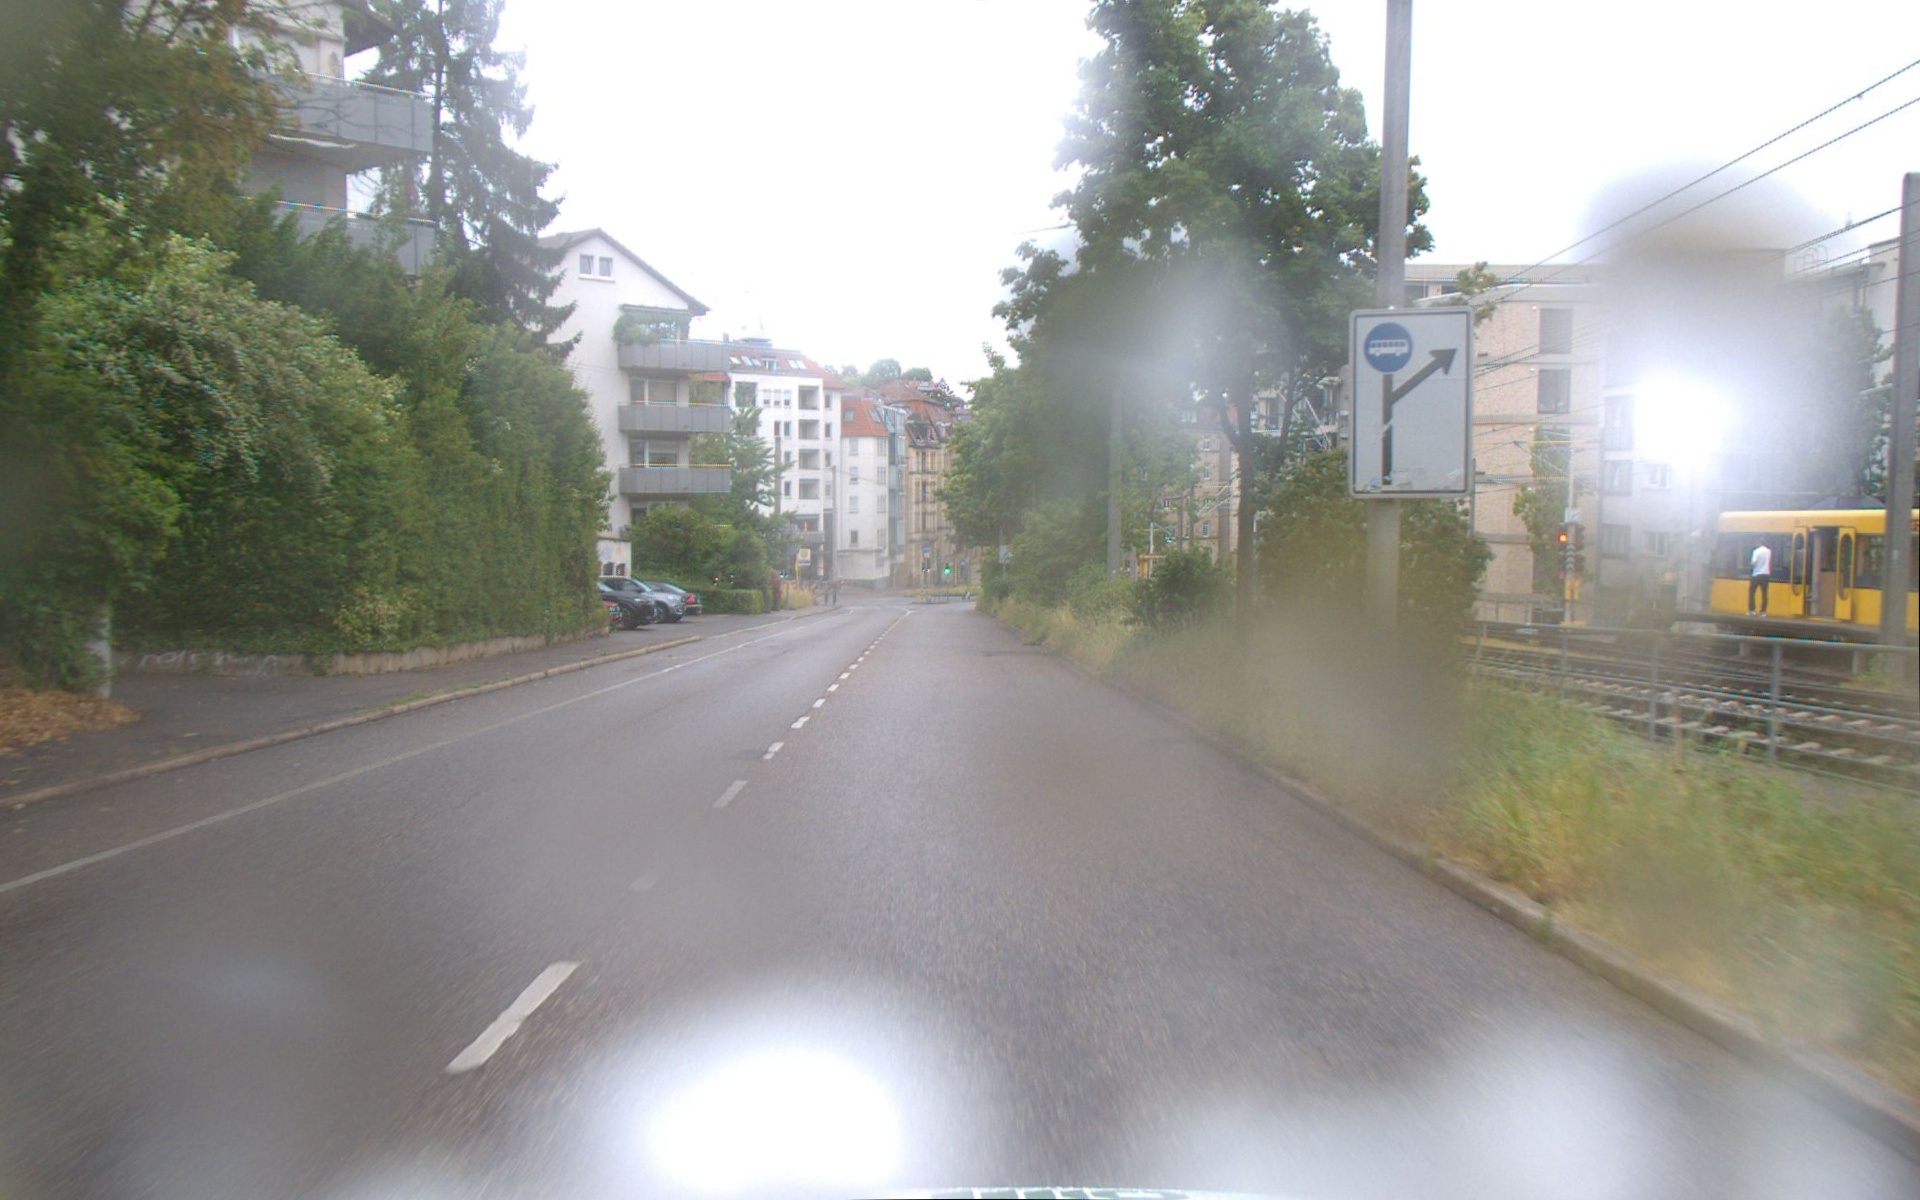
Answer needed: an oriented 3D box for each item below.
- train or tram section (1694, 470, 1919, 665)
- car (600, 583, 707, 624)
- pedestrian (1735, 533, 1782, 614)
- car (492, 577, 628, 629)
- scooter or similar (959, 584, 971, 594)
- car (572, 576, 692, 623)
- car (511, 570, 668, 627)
[{"bbox_3d":[21.390,-0.671,34.744,3.263,4.016,18.809,0,1,-1],"label":"train or tram section"},{"bbox_3d":[-11.109,0.131,60.104,3.556,1.431,1.784,0,0,0],"label":"car"},{"bbox_3d":[19.152,-0.621,39.680,0.707,1.913,0.817,0,-1,-1],"label":"pedestrian"},{"bbox_3d":[-11.324,0.078,47.027,3.562,1.430,1.714,0,0,-8],"label":"car"},{"bbox_3d":[0.389,-0.868,133.663,0.475,0.774,1.328,0,0,27],"label":"scooter or similar"},{"bbox_3d":[-11.420,-0.008,57.783,3.909,1.587,1.878,0,0,-5],"label":"car"},{"bbox_3d":[-11.141,-0.066,49.937,4.359,1.630,1.814,0,2,-2],"label":"car"}]
